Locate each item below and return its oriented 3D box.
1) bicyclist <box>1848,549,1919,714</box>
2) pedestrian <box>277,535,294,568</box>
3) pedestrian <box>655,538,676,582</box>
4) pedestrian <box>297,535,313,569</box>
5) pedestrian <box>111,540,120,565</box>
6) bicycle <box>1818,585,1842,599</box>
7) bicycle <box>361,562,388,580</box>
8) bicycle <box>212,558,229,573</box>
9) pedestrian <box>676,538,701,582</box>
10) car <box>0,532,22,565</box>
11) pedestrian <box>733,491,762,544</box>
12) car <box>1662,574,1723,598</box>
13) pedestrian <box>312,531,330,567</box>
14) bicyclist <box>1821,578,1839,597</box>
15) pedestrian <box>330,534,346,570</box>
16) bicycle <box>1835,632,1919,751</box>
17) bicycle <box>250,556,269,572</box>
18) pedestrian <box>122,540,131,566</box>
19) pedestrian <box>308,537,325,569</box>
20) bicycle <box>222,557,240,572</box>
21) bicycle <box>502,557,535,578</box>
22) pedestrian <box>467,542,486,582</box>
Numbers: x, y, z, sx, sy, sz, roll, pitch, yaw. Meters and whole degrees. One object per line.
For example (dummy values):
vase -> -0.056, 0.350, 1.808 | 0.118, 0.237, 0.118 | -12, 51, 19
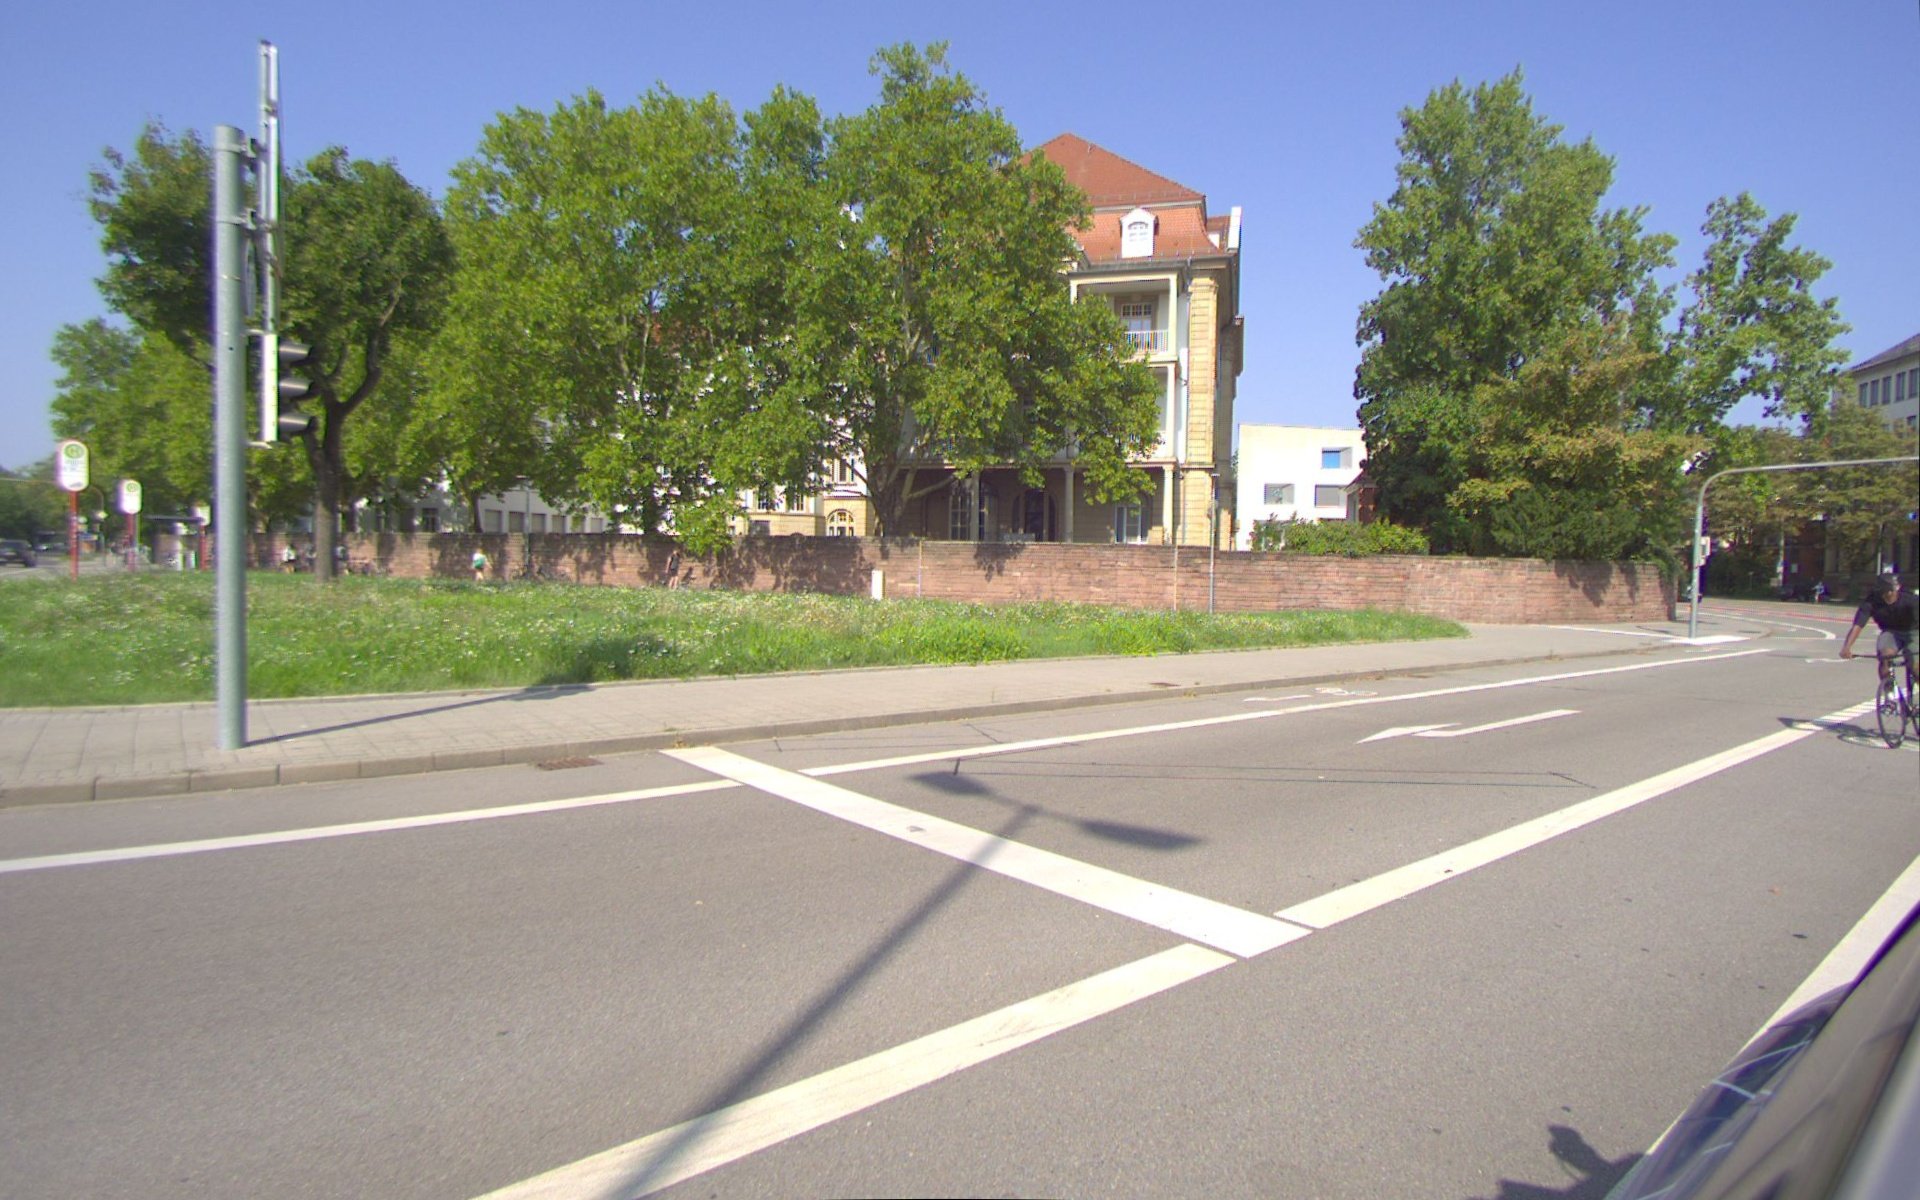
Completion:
bicyclist -> 9.596, 0.295, 10.221 | 0.973, 1.598, 0.773 | -1, 3, -41
pedestrian -> -32.349, -2.320, 48.542 | 0.498, 1.591, 0.529 | 0, 0, 32
pedestrian -> -11.312, -1.522, 38.857 | 0.587, 1.672, 0.480 | 0, 0, 21
pedestrian -> -32.154, -2.355, 49.669 | 0.590, 1.672, 0.477 | 0, 0, 34
pedestrian -> -58.404, -3.283, 70.011 | 0.477, 1.762, 0.504 | 0, 0, -40
bicycle -> 64.392, -0.630, 74.938 | 0.658, 0.968, 2.074 | 2, 2, 21
bicycle -> -28.003, -1.395, 48.414 | 1.537, 0.845, 0.429 | 3, 2, 30
bicycle -> -43.566, -2.052, 59.594 | 1.542, 0.845, 0.428 | 3, 3, 38
pedestrian -> -10.623, -1.576, 39.605 | 0.709, 1.704, 0.591 | 2, 2, 20
car -> -64.048, -3.422, 67.572 | 3.988, 2.039, 1.889 | 0, 0, 45
pedestrian -> -8.351, -3.235, 39.763 | 0.929, 1.978, 0.730 | 0, 0, 43
car -> 53.432, -1.063, 73.891 | 1.969, 1.629, 4.233 | -1, 2, 11
pedestrian -> -29.942, -2.387, 47.416 | 0.590, 1.672, 0.513 | 0, 0, 34
bicyclist -> 64.375, -0.940, 74.886 | 0.659, 1.356, 0.919 | 2, 2, 21
pedestrian -> -29.580, -2.288, 48.120 | 0.590, 1.672, 0.477 | 0, 0, 34
bicycle -> 9.576, 0.883, 10.247 | 2.112, 0.988, 0.773 | -1, 3, -41
bicycle -> -38.537, -1.974, 55.649 | 1.542, 0.845, 0.428 | 3, 3, 38
pedestrian -> -58.087, -3.289, 70.511 | 0.477, 1.762, 0.504 | 0, 0, -40
pedestrian -> -31.980, -2.339, 50.281 | 0.498, 1.591, 0.529 | 0, 0, 32
bicycle -> -41.890, -2.049, 58.153 | 1.542, 0.845, 0.428 | 3, 3, 38
bicycle -> -19.002, -1.404, 43.520 | 1.535, 0.845, 0.430 | 2, 2, 27
pedestrian -> -20.488, -1.618, 42.917 | 0.589, 1.672, 0.478 | 0, 0, 30
